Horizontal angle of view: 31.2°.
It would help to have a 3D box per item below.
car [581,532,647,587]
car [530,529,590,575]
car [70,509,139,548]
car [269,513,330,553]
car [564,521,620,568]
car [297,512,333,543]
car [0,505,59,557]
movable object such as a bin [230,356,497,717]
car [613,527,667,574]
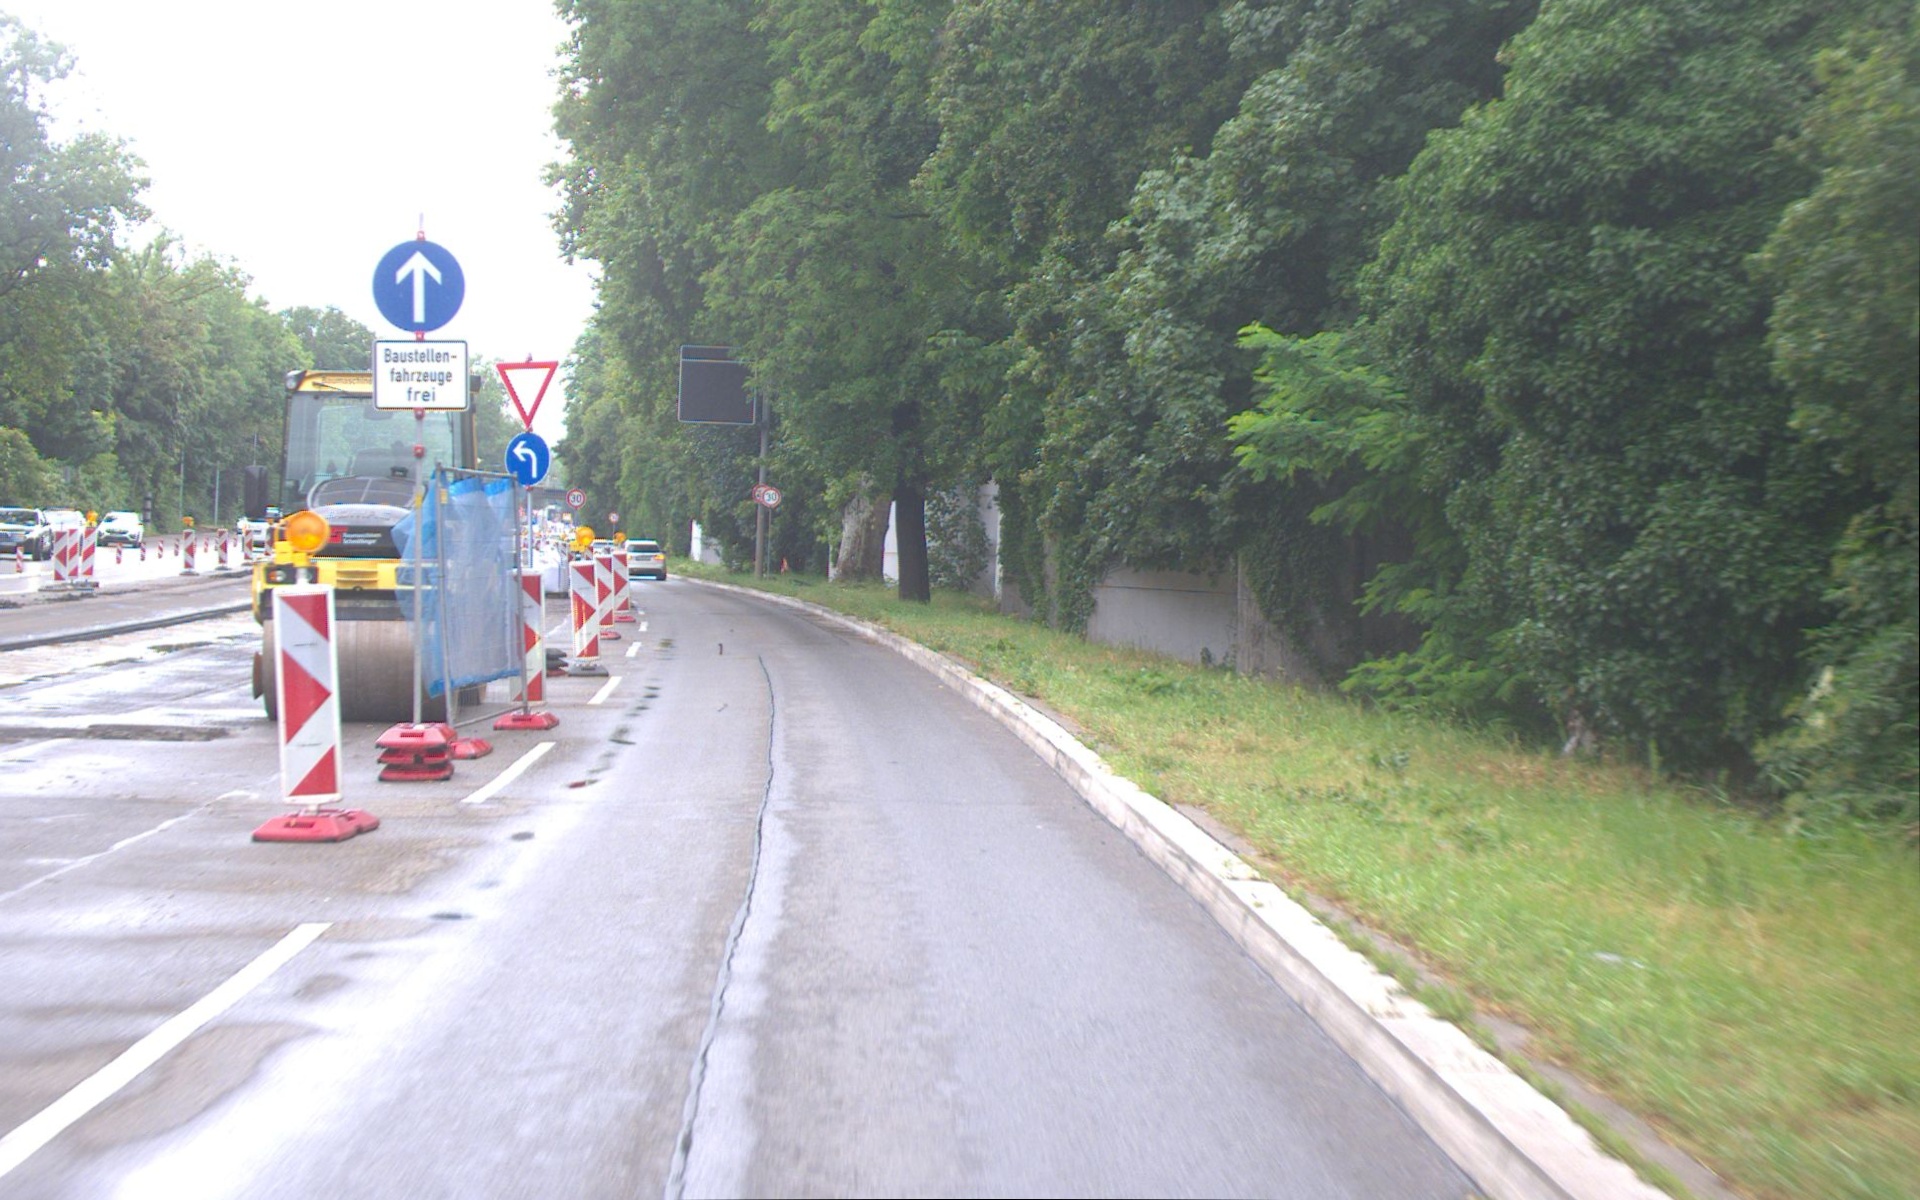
[{"bbox_3d":[-9.793,-1.171,97.334,1.756,1.339,4.001,3,2,-6],"label":"car"},{"bbox_3d":[-15.824,-1.918,136.132,1.875,1.612,4.000,4,2,-1],"label":"car"},{"bbox_3d":[-37.897,-3.175,152.389,1.927,1.659,4.653,1,1,-1],"label":"car"},{"bbox_3d":[-29.859,-3.031,155.517,1.927,1.772,4.653,1,1,-1],"label":"car"},{"bbox_3d":[-12.292,-1.872,114.987,1.756,1.339,4.001,3,2,-6],"label":"car"},{"bbox_3d":[-33.833,-3.807,180.344,1.564,1.452,3.381,4,2,-15],"label":"car"},{"bbox_3d":[-31.191,-2.278,113.008,1.927,1.659,4.653,1,1,-1],"label":"car"},{"bbox_3d":[-5.010,-0.542,29.272,1.746,2.857,3.535,1,1,-2],"label":"movable object such as a bin"},{"bbox_3d":[-11.901,-1.858,127.630,1.913,1.592,4.835,2,2,-6],"label":"car"}]
